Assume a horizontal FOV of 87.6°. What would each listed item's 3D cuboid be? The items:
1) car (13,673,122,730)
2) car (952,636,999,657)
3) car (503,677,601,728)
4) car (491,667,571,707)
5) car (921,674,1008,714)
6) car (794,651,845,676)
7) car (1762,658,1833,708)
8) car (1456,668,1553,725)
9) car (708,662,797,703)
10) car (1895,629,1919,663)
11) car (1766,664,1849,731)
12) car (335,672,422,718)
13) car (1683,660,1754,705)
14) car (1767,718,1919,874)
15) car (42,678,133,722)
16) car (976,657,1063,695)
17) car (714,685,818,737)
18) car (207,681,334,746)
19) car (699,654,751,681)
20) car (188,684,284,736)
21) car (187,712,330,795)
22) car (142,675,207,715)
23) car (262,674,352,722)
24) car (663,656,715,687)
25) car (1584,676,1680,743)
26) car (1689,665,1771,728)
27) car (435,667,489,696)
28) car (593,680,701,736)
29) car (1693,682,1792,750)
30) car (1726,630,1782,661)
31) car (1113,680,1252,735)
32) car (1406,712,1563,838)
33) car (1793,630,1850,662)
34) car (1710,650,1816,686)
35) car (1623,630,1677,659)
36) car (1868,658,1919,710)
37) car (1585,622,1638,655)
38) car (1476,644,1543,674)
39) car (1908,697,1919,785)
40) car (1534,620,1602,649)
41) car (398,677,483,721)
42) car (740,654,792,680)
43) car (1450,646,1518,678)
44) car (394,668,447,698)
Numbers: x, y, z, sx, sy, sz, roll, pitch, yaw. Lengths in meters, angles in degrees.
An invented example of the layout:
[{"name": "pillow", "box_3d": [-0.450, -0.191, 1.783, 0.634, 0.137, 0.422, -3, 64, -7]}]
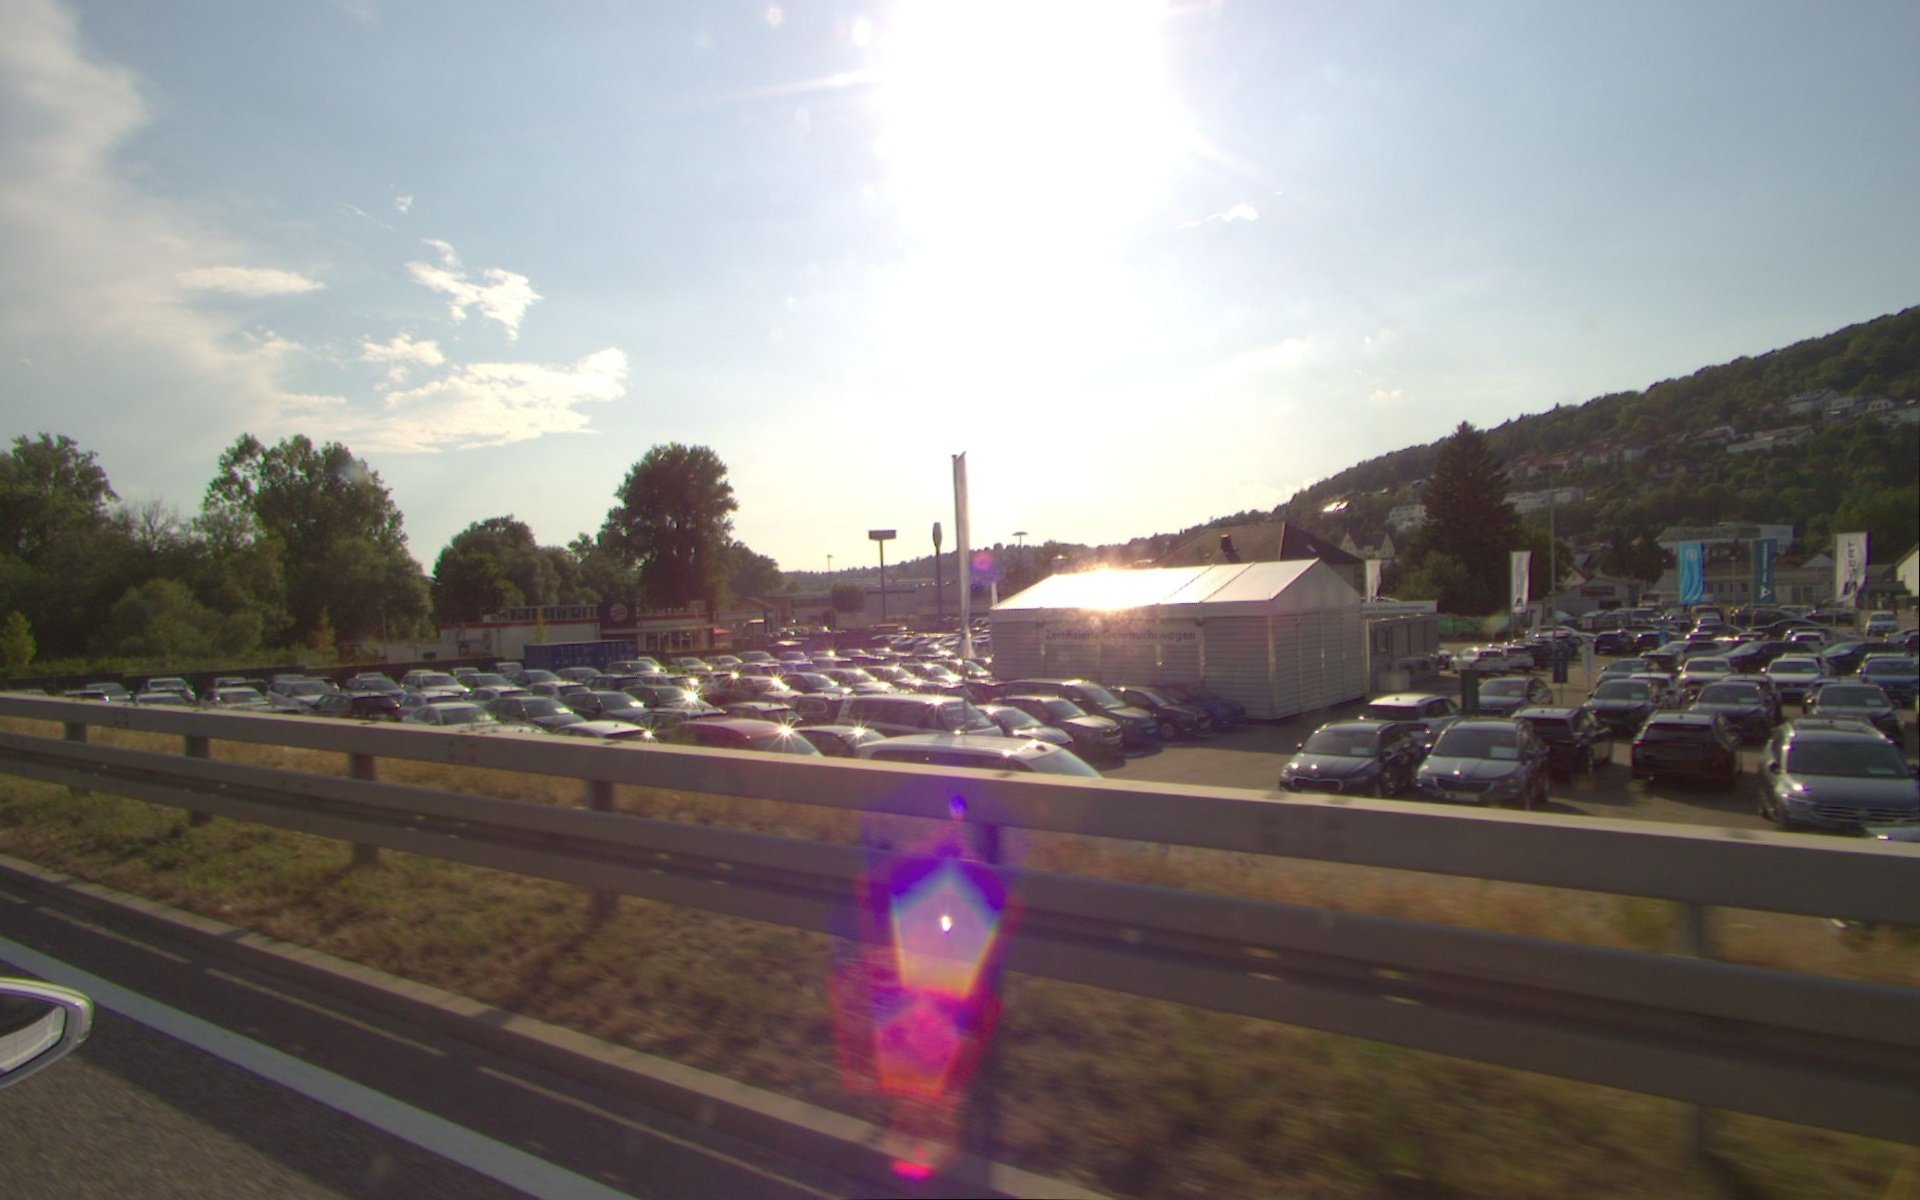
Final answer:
[{"name": "car", "box_3d": [-30.236, 3.380, 33.913, 3.944, 1.705, 1.771, -2, -1, 33]}, {"name": "car", "box_3d": [1.193, 3.734, 80.648, 1.734, 1.597, 3.747, 0, -2, -41]}, {"name": "car", "box_3d": [-15.715, 3.897, 38.497, 3.951, 1.705, 1.768, -2, -2, 38]}, {"name": "car", "box_3d": [-20.412, 4.086, 47.594, 3.949, 1.705, 1.769, -2, -2, 37]}, {"name": "car", "box_3d": [0.190, 4.491, 48.367, 3.951, 1.705, 1.768, -2, -2, 38]}, {"name": "car", "box_3d": [-9.731, 4.346, 69.284, 1.734, 1.597, 3.747, 0, -2, -41]}, {"name": "car", "box_3d": [31.107, 3.028, 37.158, 1.782, 1.563, 4.308, -2, -2, 43]}, {"name": "car", "box_3d": [17.254, 2.994, 31.671, 1.694, 1.483, 3.964, -2, -2, 44]}, {"name": "car", "box_3d": [-9.484, 3.712, 45.657, 3.949, 1.705, 1.769, -2, -2, 37]}, {"name": "car", "box_3d": [52.324, 2.484, 54.275, 3.957, 1.739, 1.983, 0, 0, -41]}, {"name": "car", "box_3d": [25.941, 2.916, 30.605, 1.763, 1.750, 3.966, -2, -2, 42]}, {"name": "car", "box_3d": [-24.328, 3.924, 41.851, 3.949, 1.705, 1.769, -2, -2, 37]}, {"name": "car", "box_3d": [29.293, 3.139, 38.631, 1.694, 1.483, 3.964, -2, -2, 44]}, {"name": "car", "box_3d": [13.879, 2.921, 15.744, 1.819, 1.688, 4.400, -2, -2, 39]}, {"name": "car", "box_3d": [-33.923, 3.829, 38.910, 3.946, 1.483, 1.702, -2, -2, 34]}, {"name": "car", "box_3d": [2.915, 3.695, 49.259, 3.951, 1.705, 1.768, -2, -2, 38]}, {"name": "car", "box_3d": [-7.492, 4.230, 38.466, 3.951, 1.705, 1.768, -2, -2, 38]}, {"name": "car", "box_3d": [-20.943, 3.380, 30.389, 3.943, 1.705, 1.772, -2, -1, 32]}, {"name": "car", "box_3d": [-15.156, 4.336, 64.444, 1.734, 1.597, 3.747, 0, -2, -41]}, {"name": "car", "box_3d": [-27.381, 4.111, 37.832, 3.947, 1.705, 1.770, -2, -2, 35]}, {"name": "car", "box_3d": [-17.658, 3.797, 25.179, 3.782, 1.700, 1.609, -2, -1, 32]}, {"name": "car", "box_3d": [-37.555, 4.501, 47.827, 4.201, 1.663, 1.942, -2, -2, 44]}, {"name": "car", "box_3d": [-26.097, 3.859, 40.006, 3.949, 1.705, 1.769, -2, -2, 37]}, {"name": "car", "box_3d": [-17.093, 4.495, 63.097, 1.734, 1.817, 3.747, 0, -2, -41]}, {"name": "car", "box_3d": [19.704, 3.131, 29.301, 1.763, 1.585, 3.966, -2, -2, 42]}, {"name": "car", "box_3d": [24.925, 3.051, 32.375, 1.763, 1.750, 3.966, -2, -2, 42]}, {"name": "car", "box_3d": [-27.990, 4.545, 56.218, 1.694, 1.483, 3.964, 0, -2, -42]}, {"name": "car", "box_3d": [-11.155, 3.795, 35.568, 3.951, 1.705, 1.768, -2, -2, 38]}, {"name": "car", "box_3d": [21.461, 3.106, 27.414, 1.762, 1.474, 3.964, -2, -2, 43]}, {"name": "car", "box_3d": [48.214, 2.757, 60.798, 3.957, 1.739, 1.983, 0, 0, -41]}, {"name": "car", "box_3d": [7.163, 3.427, 32.403, 3.950, 1.483, 1.946, -2, -2, 38]}, {"name": "car", "box_3d": [9.912, 3.132, 18.750, 1.778, 1.628, 4.400, 0, 0, 39]}, {"name": "car", "box_3d": [50.150, 2.656, 58.269, 3.957, 1.739, 1.983, 0, 0, -41]}, {"name": "car", "box_3d": [39.949, 3.361, 49.853, 3.923, 1.661, 1.842, -1, -1, -5]}, {"name": "car", "box_3d": [44.750, 2.885, 64.927, 3.957, 1.739, 1.983, 0, 0, -41]}, {"name": "car", "box_3d": [33.103, 2.897, 35.151, 1.782, 1.563, 4.308, -2, -2, 43]}, {"name": "car", "box_3d": [43.390, 2.540, 66.685, 3.957, 2.040, 1.983, 0, 0, -41]}, {"name": "car", "box_3d": [30.293, 3.240, 55.332, 1.770, 1.474, 4.001, -1, -1, 5]}, {"name": "car", "box_3d": [18.996, 2.808, 18.405, 1.781, 1.724, 4.399, -6, -3, 39]}, {"name": "car", "box_3d": [45.208, 2.580, 74.495, 1.981, 2.039, 3.962, 0, -2, -44]}, {"name": "car", "box_3d": [-22.933, 4.319, 44.166, 3.949, 1.705, 1.769, -2, -2, 37]}, {"name": "car", "box_3d": [-12.886, 4.413, 66.321, 1.734, 1.597, 3.747, 0, -2, -41]}, {"name": "car", "box_3d": [27.351, 3.220, 52.398, 1.770, 1.474, 4.001, -1, -1, 5]}, {"name": "car", "box_3d": [-29.560, 4.510, 54.820, 1.694, 1.483, 3.964, 0, -2, -42]}]
